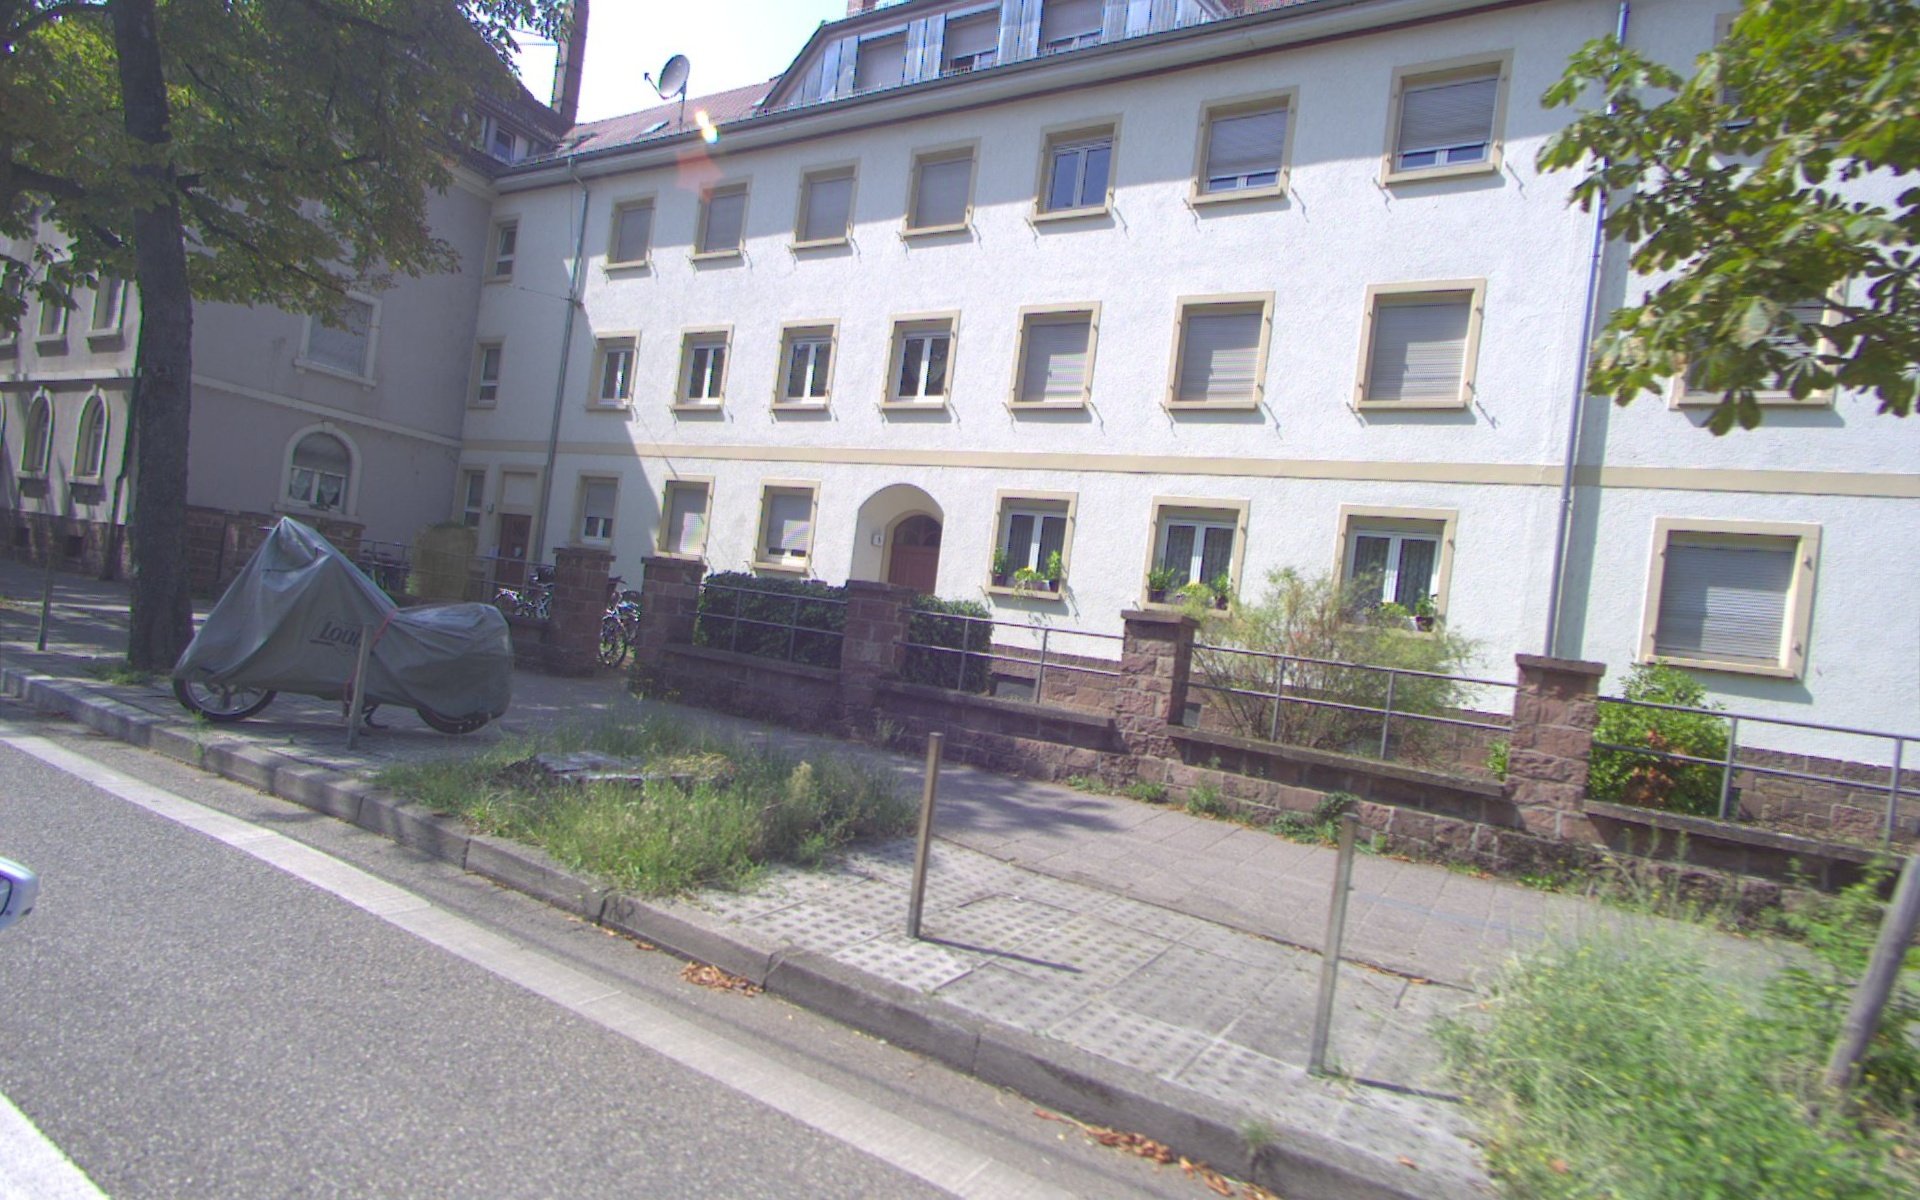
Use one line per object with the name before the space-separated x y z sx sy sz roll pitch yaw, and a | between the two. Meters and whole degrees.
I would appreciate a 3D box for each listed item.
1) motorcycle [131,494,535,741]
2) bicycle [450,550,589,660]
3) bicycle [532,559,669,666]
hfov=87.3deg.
motorcycle | -4.565 0.167 7.588 2.311 1.559 0.965 5 0 -18
bicycle | -6.547 0.048 14.892 2.331 1.374 0.594 6 -1 34
bicycle | -5.552 0.169 15.458 2.331 1.374 0.594 6 -1 34
